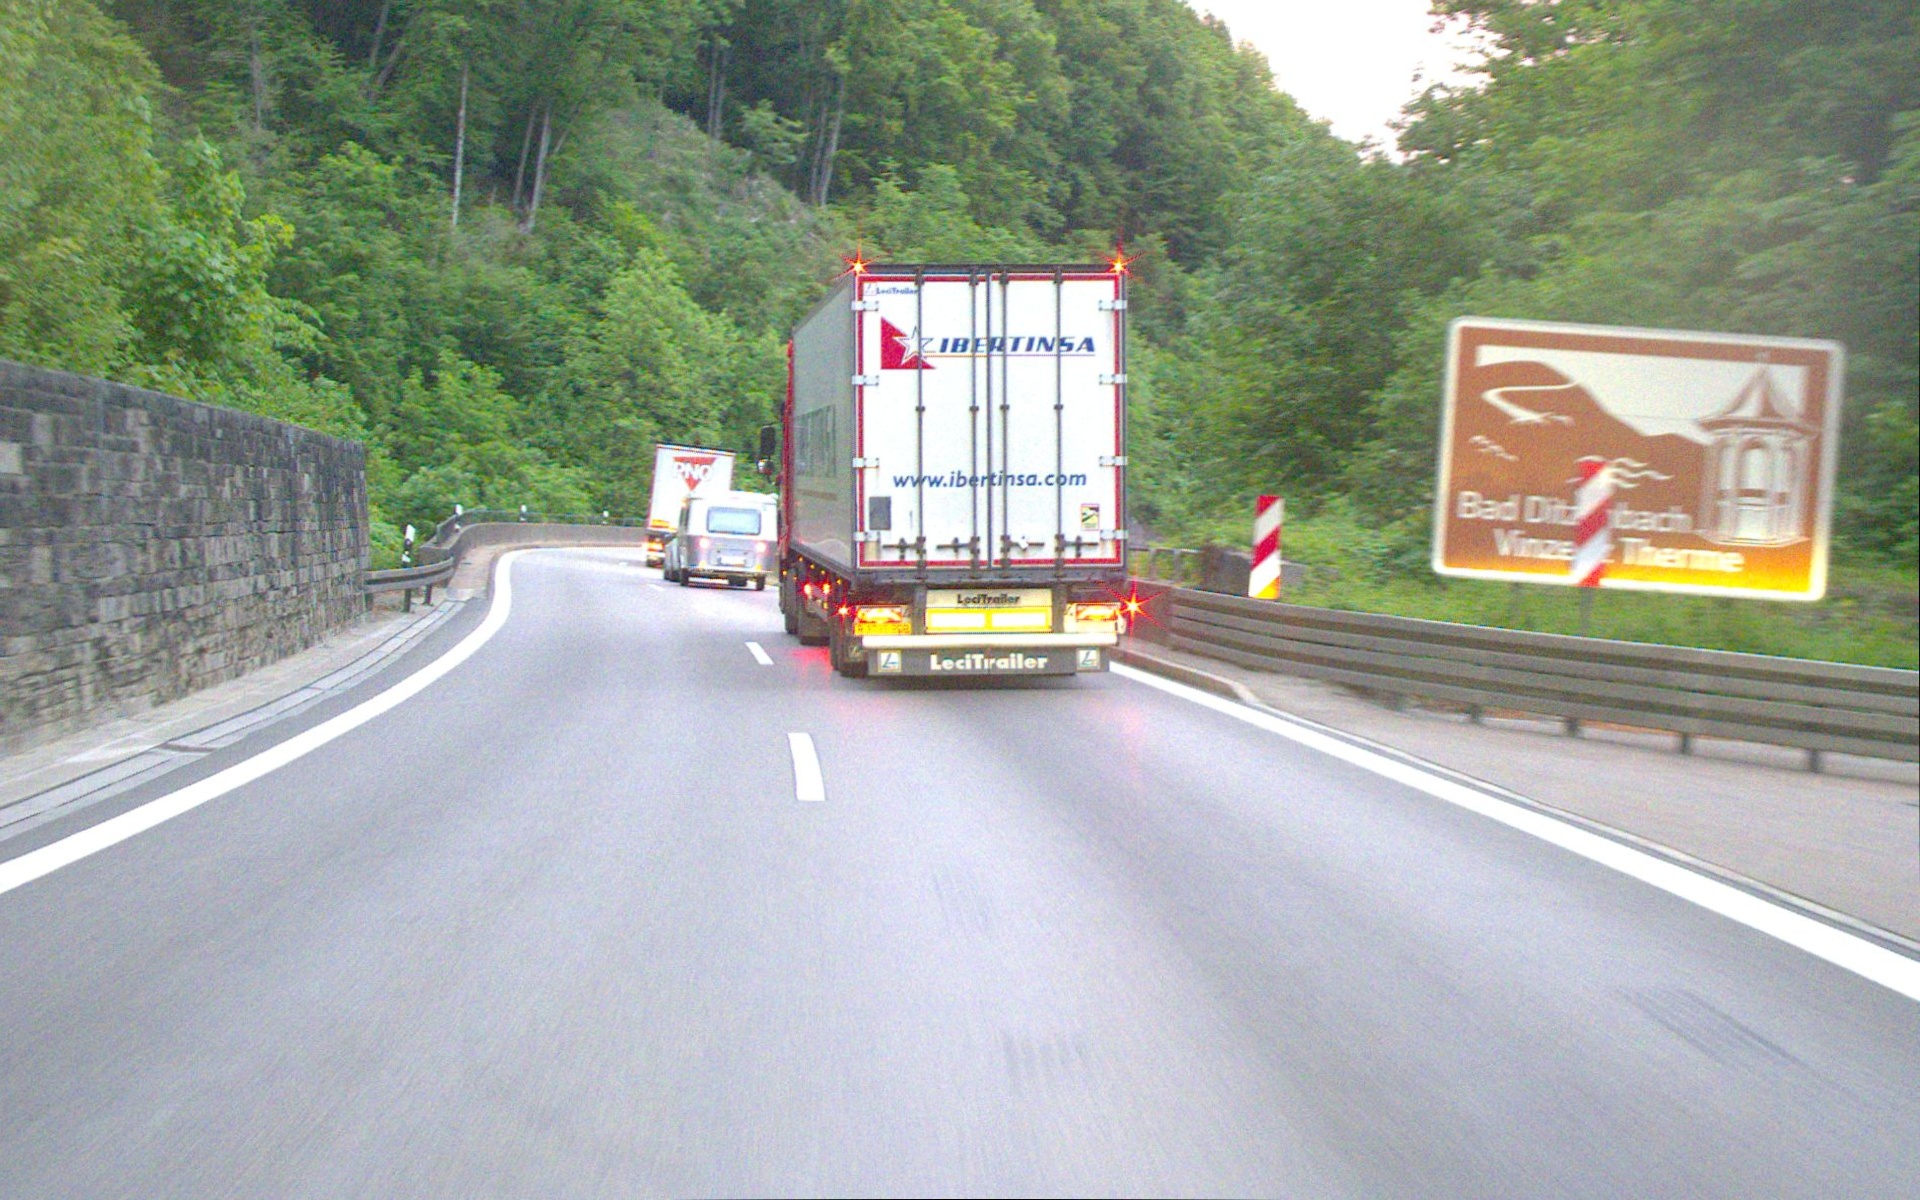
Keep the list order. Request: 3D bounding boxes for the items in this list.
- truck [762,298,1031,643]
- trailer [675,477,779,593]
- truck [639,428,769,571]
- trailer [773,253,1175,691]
[{"bbox_3d":[-0.949,-1.701,44.722,3.068,4.130,6.449,-1,2,-5],"label":"truck"},{"bbox_3d":[-5.418,-1.565,80.392,2.054,2.366,5.939,7,2,-4],"label":"trailer"},{"bbox_3d":[-8.457,-3.197,115.610,3.294,4.159,16.503,3,0,-1],"label":"truck"},{"bbox_3d":[-0.247,-1.478,38.253,3.096,3.956,14.222,0,3,-5],"label":"trailer"}]
